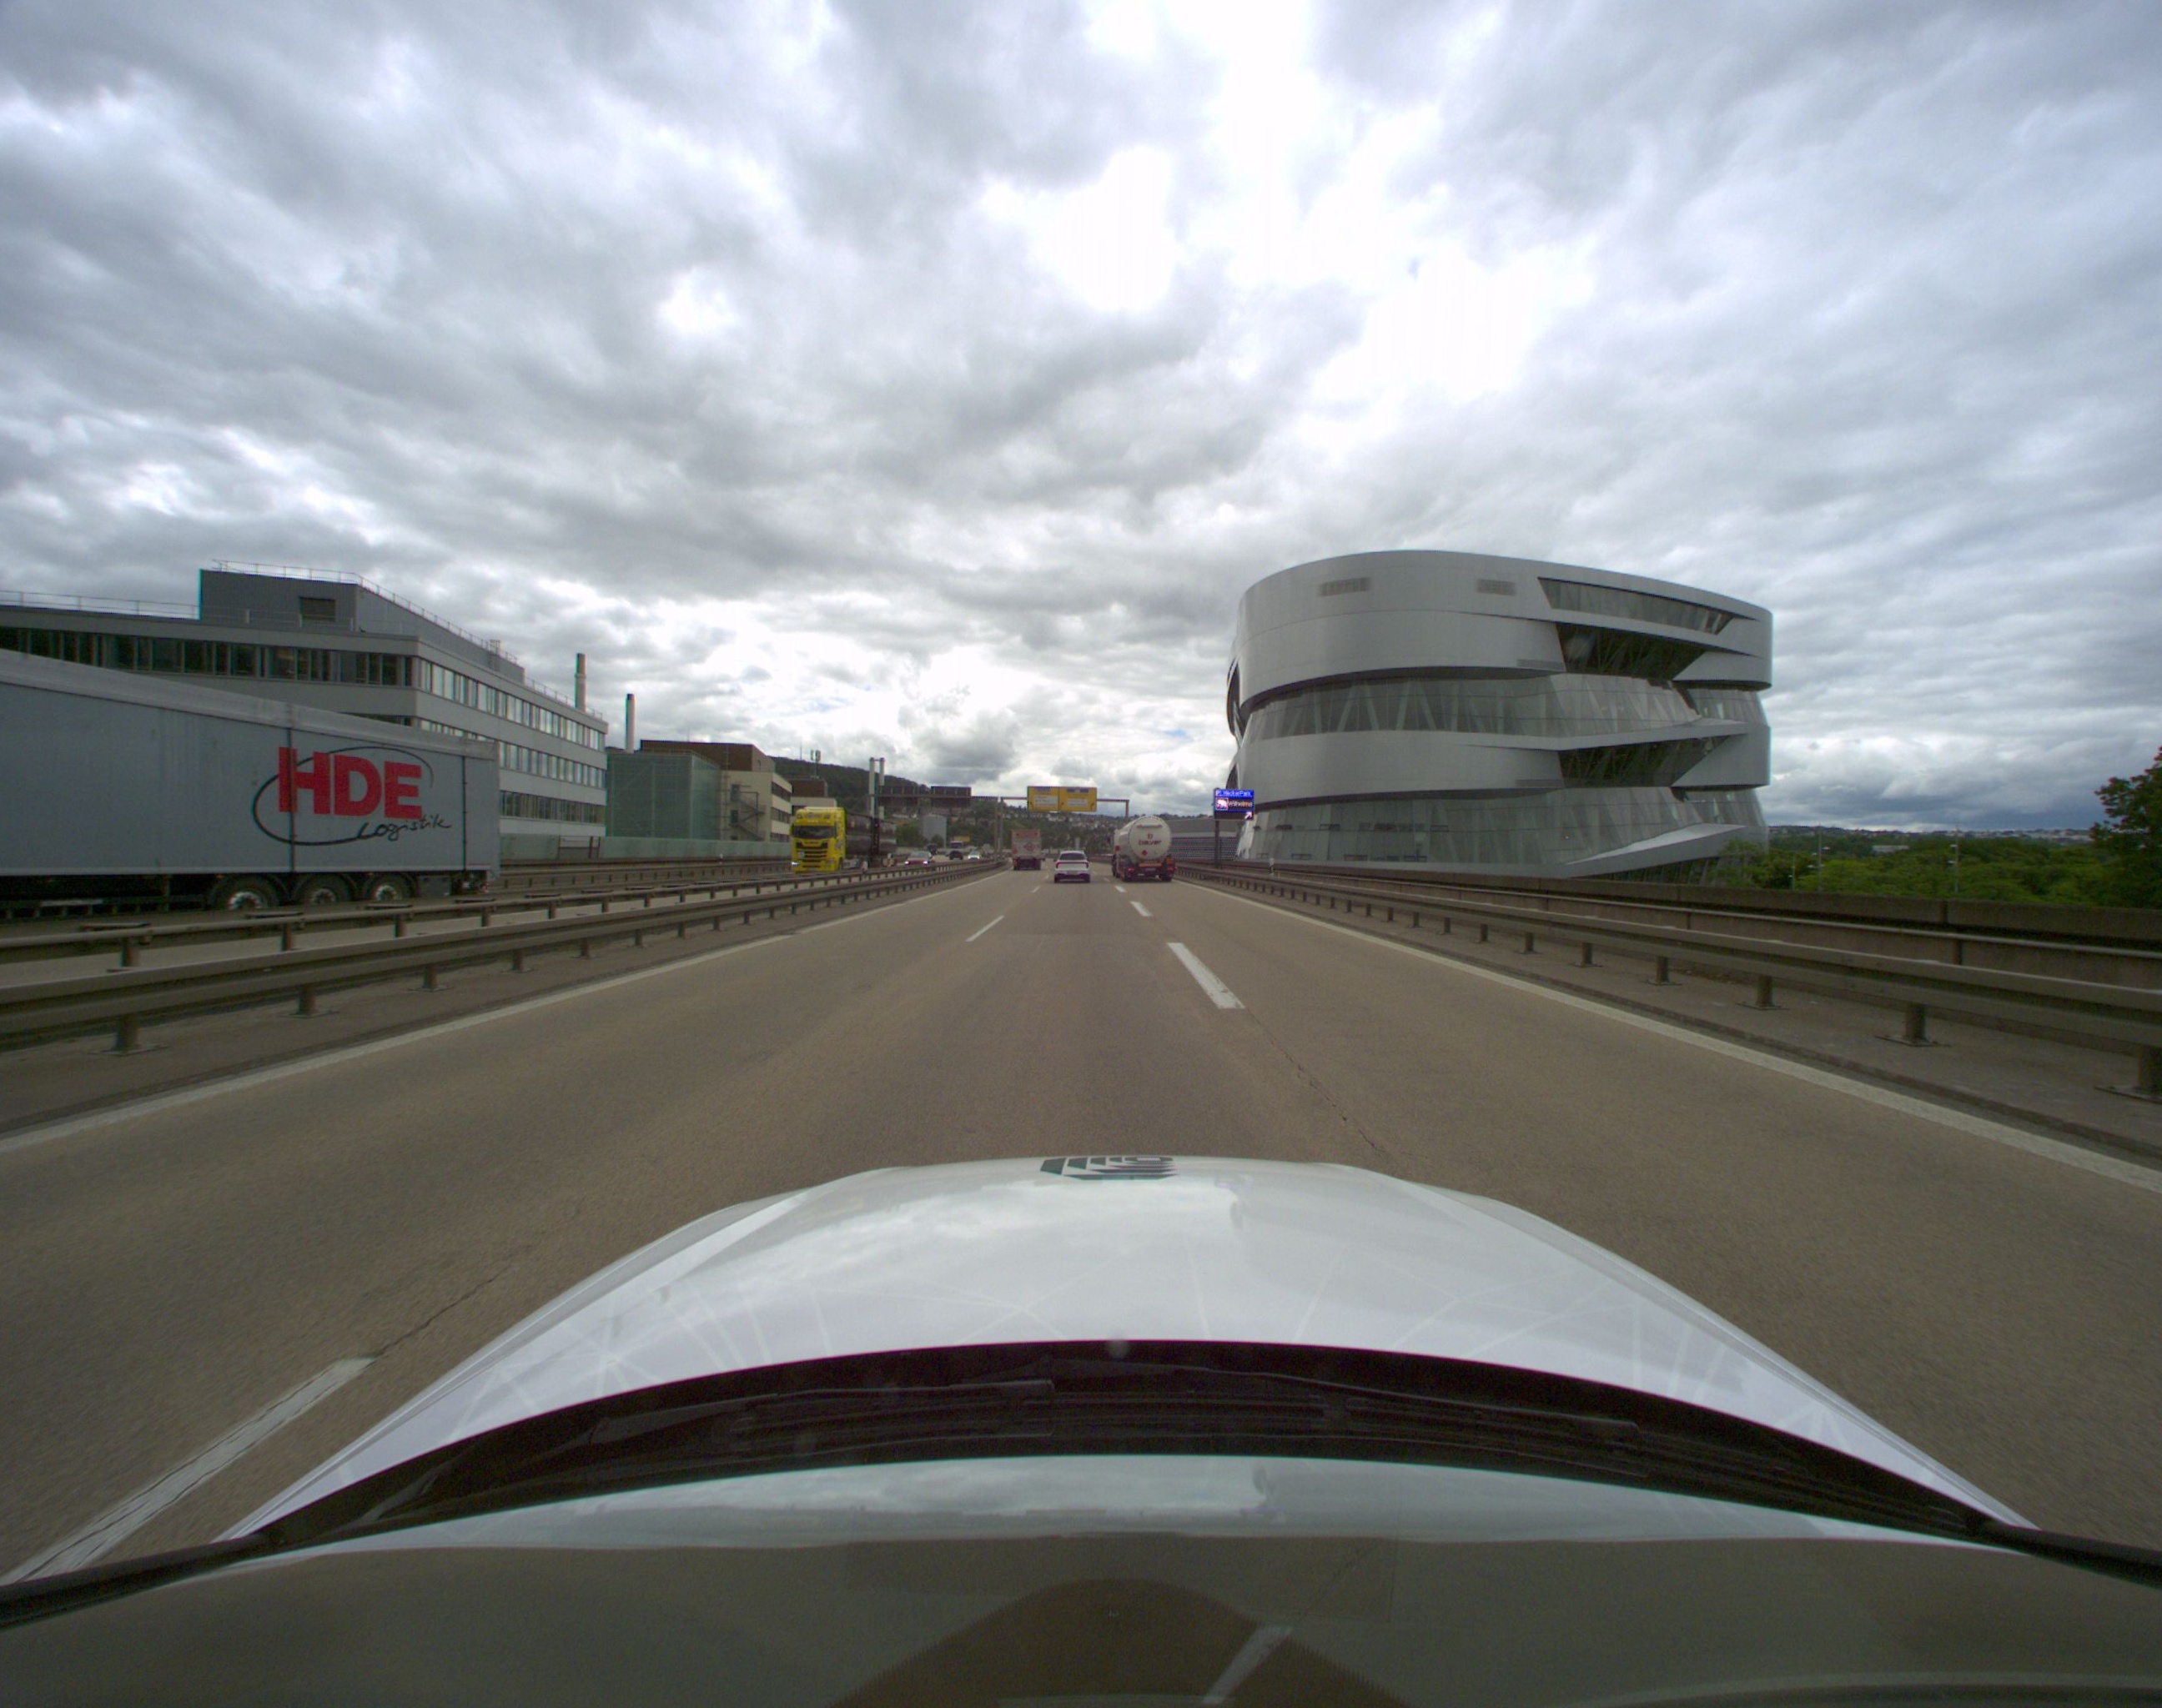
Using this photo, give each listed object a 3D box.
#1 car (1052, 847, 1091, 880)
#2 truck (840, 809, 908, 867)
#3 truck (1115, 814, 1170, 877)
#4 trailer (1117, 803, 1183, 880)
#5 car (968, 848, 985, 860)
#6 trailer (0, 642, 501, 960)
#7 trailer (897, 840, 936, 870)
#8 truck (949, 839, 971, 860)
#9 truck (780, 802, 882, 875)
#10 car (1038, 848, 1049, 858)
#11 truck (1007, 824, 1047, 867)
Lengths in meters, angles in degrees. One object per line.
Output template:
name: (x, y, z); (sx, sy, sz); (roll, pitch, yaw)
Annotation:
car: (-0.471, 0.495, 43.497); (1.987, 1.675, 4.407); (0, -1, 0)
truck: (-15.539, -1.090, 61.858); (3.048, 4.065, 8.659); (0, -1, -1)
truck: (3.692, -0.457, 50.426); (3.004, 3.657, 6.272); (0, -1, 0)
trailer: (3.631, -0.595, 44.705); (3.046, 3.790, 8.305); (0, -1, 1)
car: (-14.191, -0.018, 110.906); (1.989, 1.606, 4.802); (0, -1, -3)
trailer: (-14.979, -0.659, 13.033); (2.835, 3.987, 11.884); (0, 0, 0)
trailer: (-11.753, 0.086, 58.530); (1.987, 2.014, 3.999); (0, -1, 0)
truck: (-22.321, -0.699, 151.031); (3.051, 3.776, 12.498); (0, 0, -4)
truck: (-15.370, -0.807, 51.317); (3.049, 4.065, 11.848); (0, 0, -2)
car: (-6.561, -0.167, 142.883); (1.677, 1.650, 4.359); (1, -1, 0)
truck: (-4.778, -0.700, 73.766); (3.047, 3.691, 8.301); (0, -1, 0)
